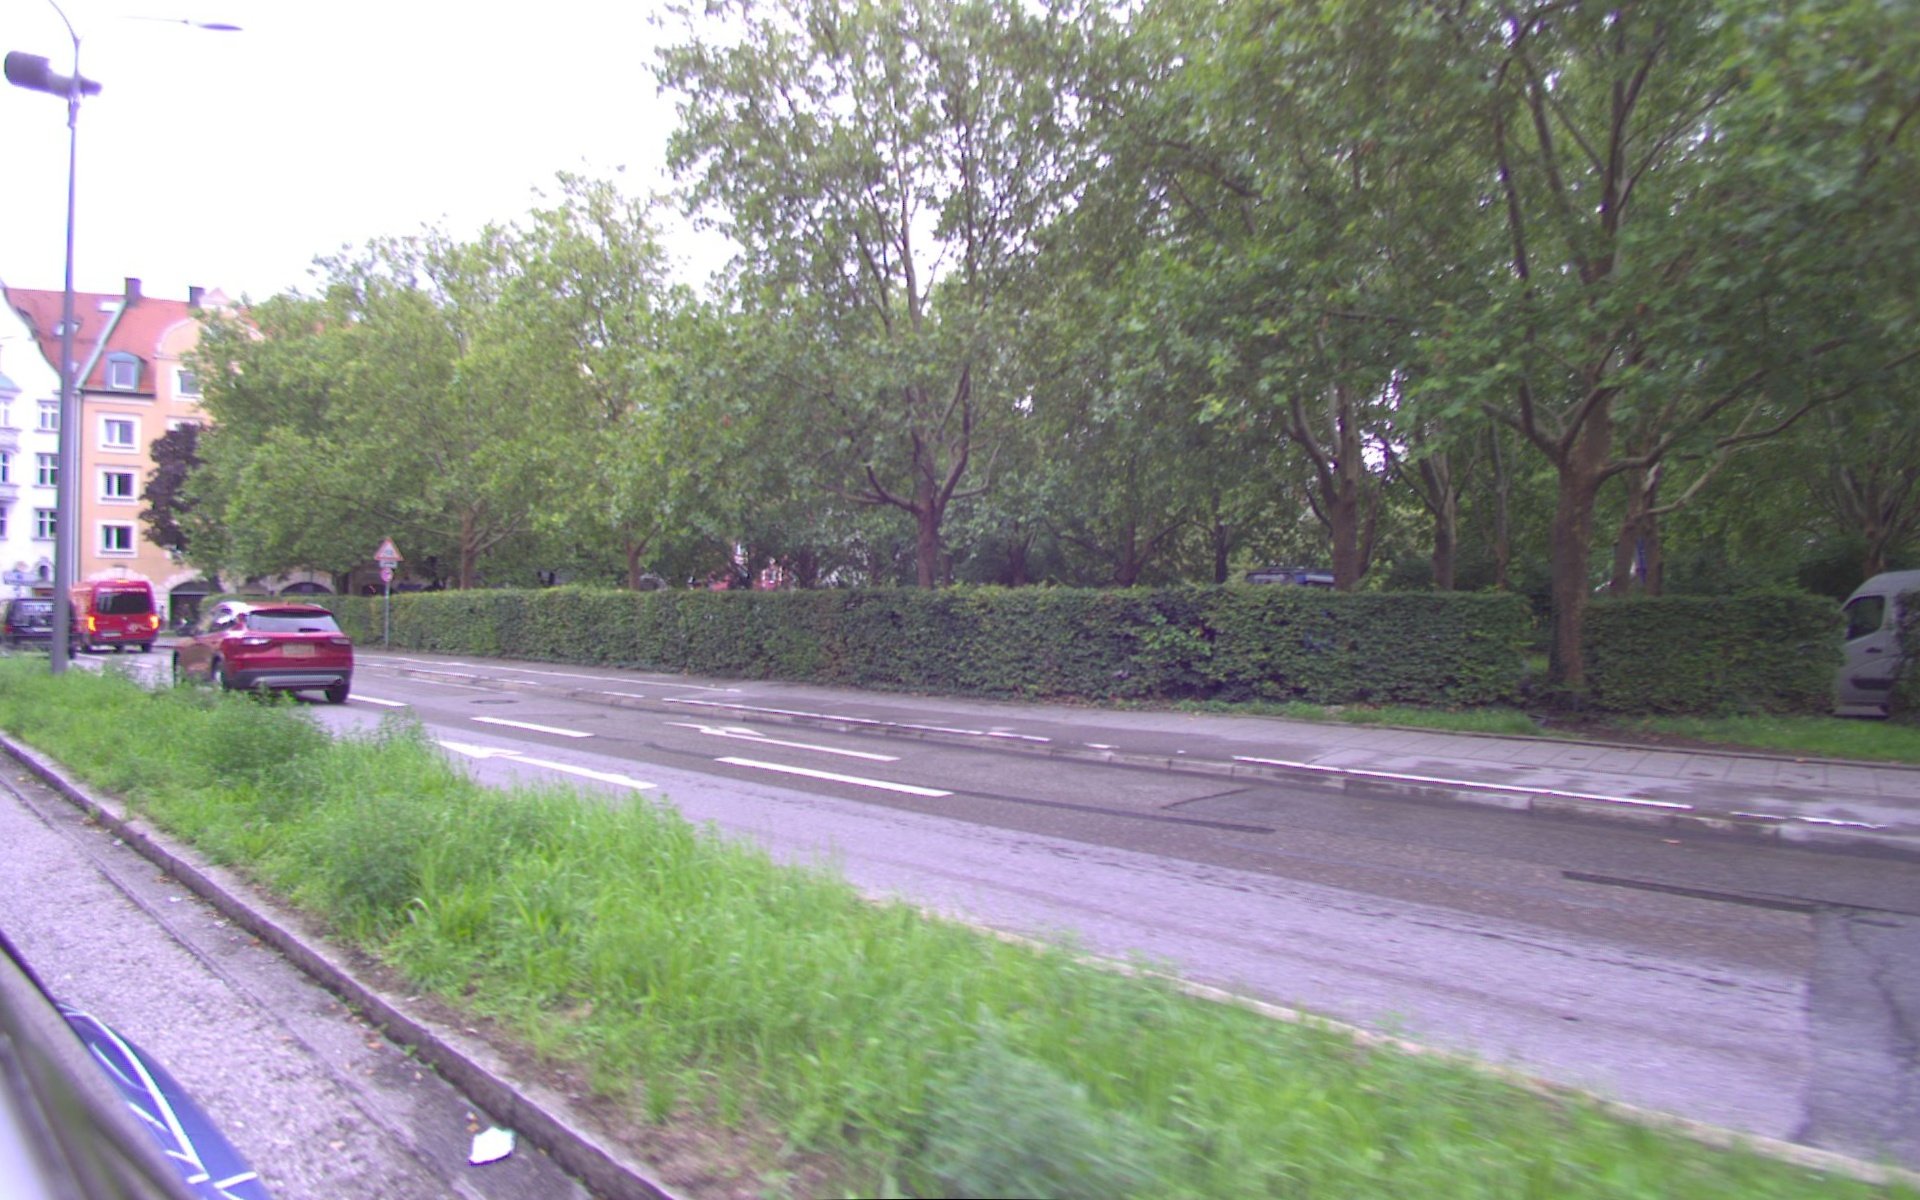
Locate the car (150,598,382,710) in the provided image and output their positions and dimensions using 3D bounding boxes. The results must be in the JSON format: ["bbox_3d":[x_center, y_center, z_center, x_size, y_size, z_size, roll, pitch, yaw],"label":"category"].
[{"bbox_3d":[-12.043,0.906,17.427,4.936,1.650,2.081,-2,-3,41],"label":"car"}]

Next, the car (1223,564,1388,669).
[{"bbox_3d":[9.520,0.368,27.564,2.001,2.554,5.779,0,1,44],"label":"car"}]

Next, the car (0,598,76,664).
[{"bbox_3d":[-30.099,0.975,32.536,4.702,2.006,1.838,-1,-2,41],"label":"car"}]

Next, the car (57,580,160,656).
[{"bbox_3d":[-31.500,0.731,37.375,6.080,2.609,2.080,-2,-3,42],"label":"car"}]

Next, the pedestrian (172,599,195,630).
[{"bbox_3d":[-52.273,0.966,68.154,0.991,2.029,0.881,0,0,-18],"label":"pedestrian"}]

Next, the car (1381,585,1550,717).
[{"bbox_3d":[7.618,0.670,15.587,1.762,1.776,3.503,0,1,17],"label":"car"}]

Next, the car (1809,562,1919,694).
[{"bbox_3d":[16.014,0.354,15.259,1.968,2.029,4.635,0,-6,-8],"label":"car"}]
